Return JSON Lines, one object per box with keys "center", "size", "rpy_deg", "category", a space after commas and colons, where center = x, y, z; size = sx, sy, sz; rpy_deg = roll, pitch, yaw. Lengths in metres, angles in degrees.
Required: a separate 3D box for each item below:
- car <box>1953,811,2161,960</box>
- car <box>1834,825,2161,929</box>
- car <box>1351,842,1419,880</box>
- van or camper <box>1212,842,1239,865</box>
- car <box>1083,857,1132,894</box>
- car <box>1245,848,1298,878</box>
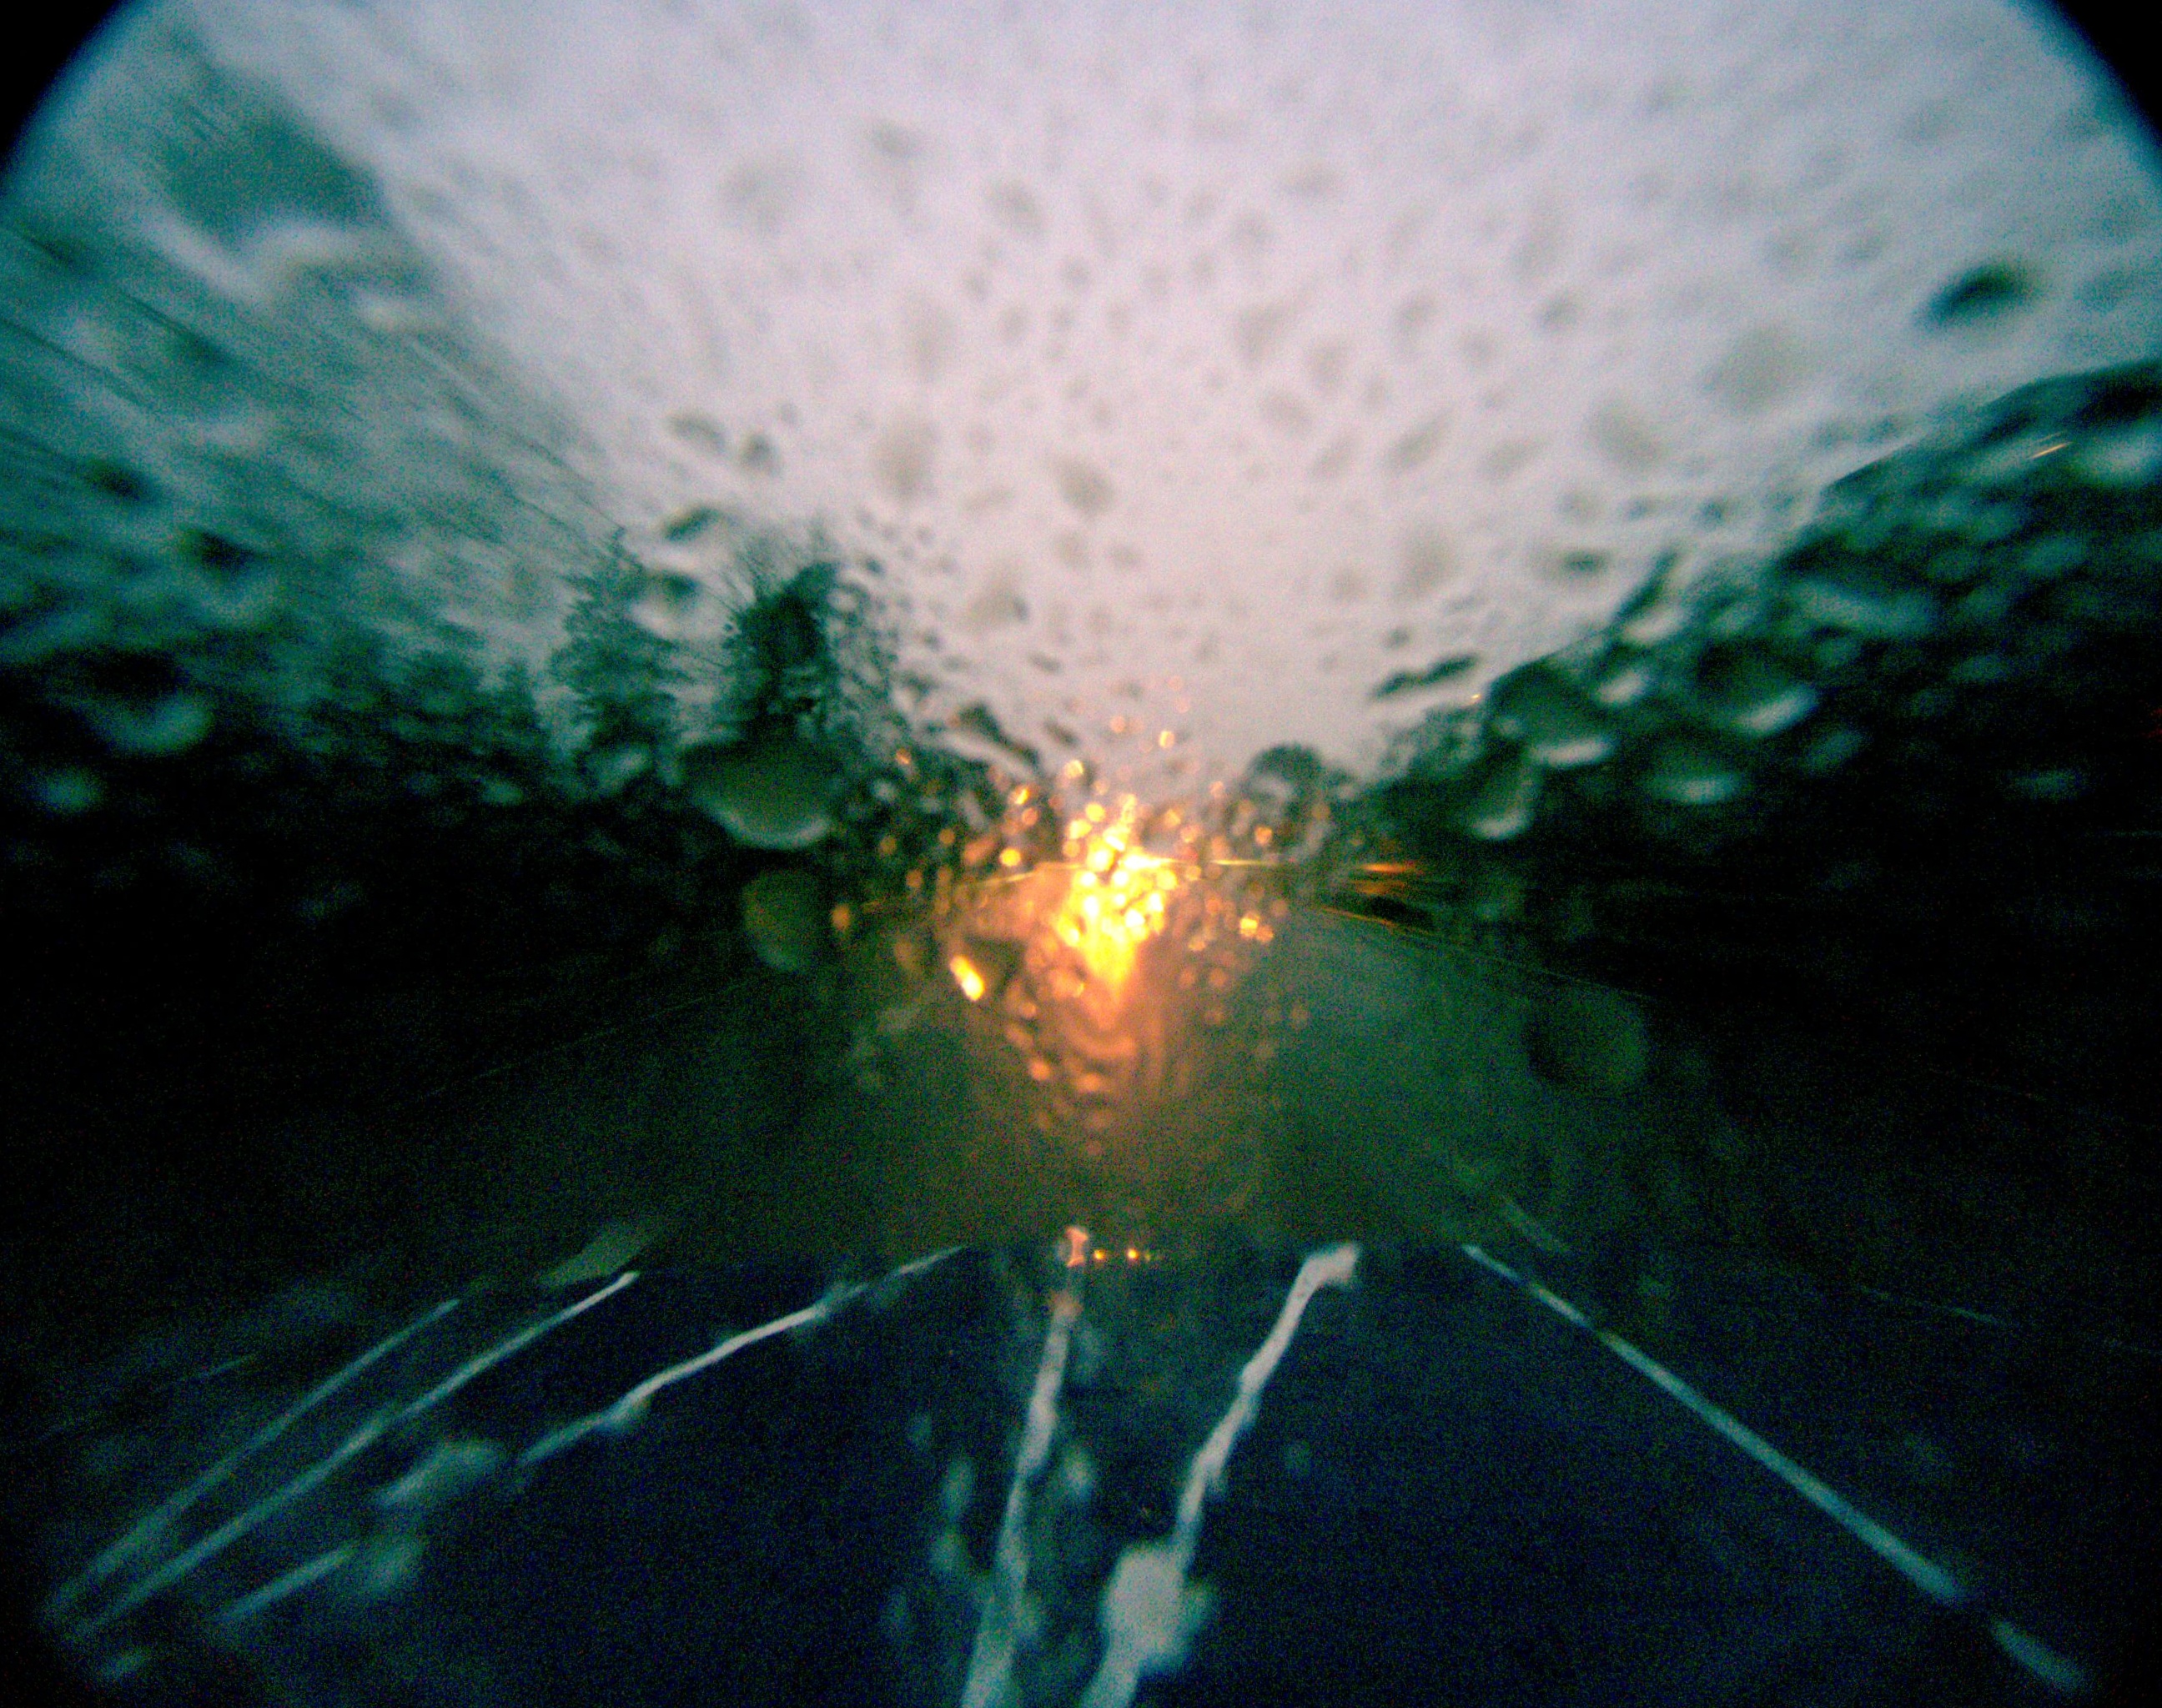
{"center": [13.956, 0.351, 9.375], "size": [1.756, 1.743, 3.940], "rpy_deg": [-5, 0, 0], "category": "car"}
{"center": [17.726, 0.365, 14.651], "size": [1.998, 1.669, 4.473], "rpy_deg": [-2, 0, 1], "category": "car"}
{"center": [16.005, 0.321, 40.300], "size": [1.998, 1.743, 4.901], "rpy_deg": [-5, 0, 6], "category": "car"}
{"center": [18.144, -0.062, 95.924], "size": [2.081, 2.556, 7.405], "rpy_deg": [-5, 0, 2], "category": "van or camper"}
{"center": [1.312, 0.953, 35.680], "size": [1.951, 1.511, 4.789], "rpy_deg": [-2, 0, 6], "category": "car"}
{"center": [11.496, 0.517, 46.239], "size": [1.998, 1.517, 5.375], "rpy_deg": [-5, 0, 2], "category": "car"}
